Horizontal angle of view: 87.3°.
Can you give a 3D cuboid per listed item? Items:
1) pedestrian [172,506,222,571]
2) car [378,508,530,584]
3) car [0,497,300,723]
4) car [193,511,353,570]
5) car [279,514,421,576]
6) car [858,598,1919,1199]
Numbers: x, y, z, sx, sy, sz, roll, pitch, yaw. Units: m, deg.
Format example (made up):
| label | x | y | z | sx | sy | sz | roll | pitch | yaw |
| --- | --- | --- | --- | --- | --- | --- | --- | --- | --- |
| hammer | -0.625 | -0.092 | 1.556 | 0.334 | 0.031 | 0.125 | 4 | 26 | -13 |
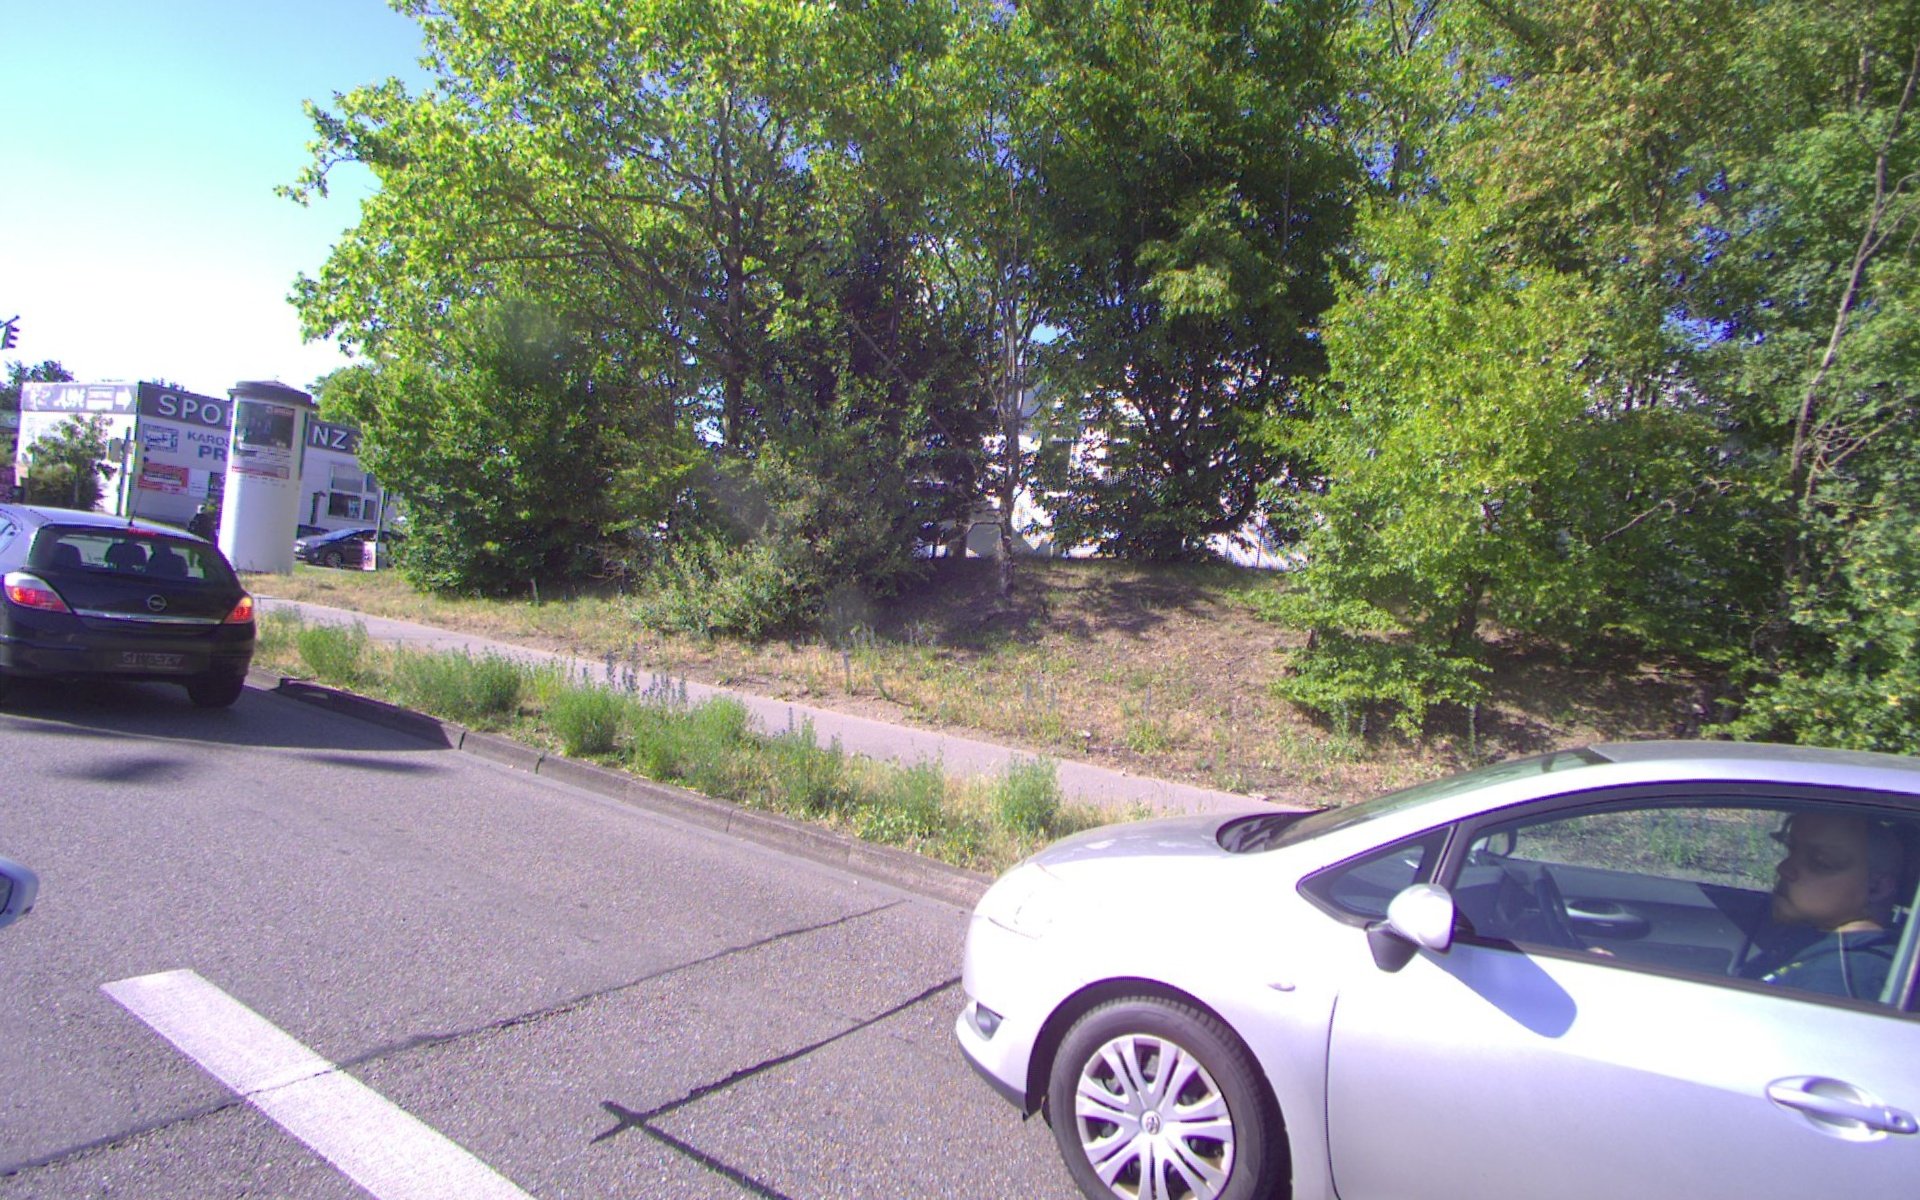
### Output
| label | x | y | z | sx | sy | sz | roll | pitch | yaw |
| --- | --- | --- | --- | --- | --- | --- | --- | --- | --- |
| pedestrian | -21.424 | -1.724 | 28.261 | 0.506 | 1.688 | 0.818 | 6 | -1 | 31 |
| car | -22.922 | -2.390 | 45.865 | 1.967 | 2.706 | 5.840 | 6 | 0 | 32 |
| car | -7.576 | -0.054 | 8.346 | 4.299 | 1.458 | 1.737 | 7 | -2 | 32 |
| car | -26.997 | -2.293 | 39.716 | 1.729 | 1.484 | 4.831 | 6 | -2 | 30 |
| car | -23.463 | -2.090 | 38.880 | 1.611 | 1.668 | 4.316 | 6 | -2 | 31 |
| car | 1.952 | 1.064 | 2.735 | 4.040 | 1.555 | 1.787 | 7 | -2 | 32 |
